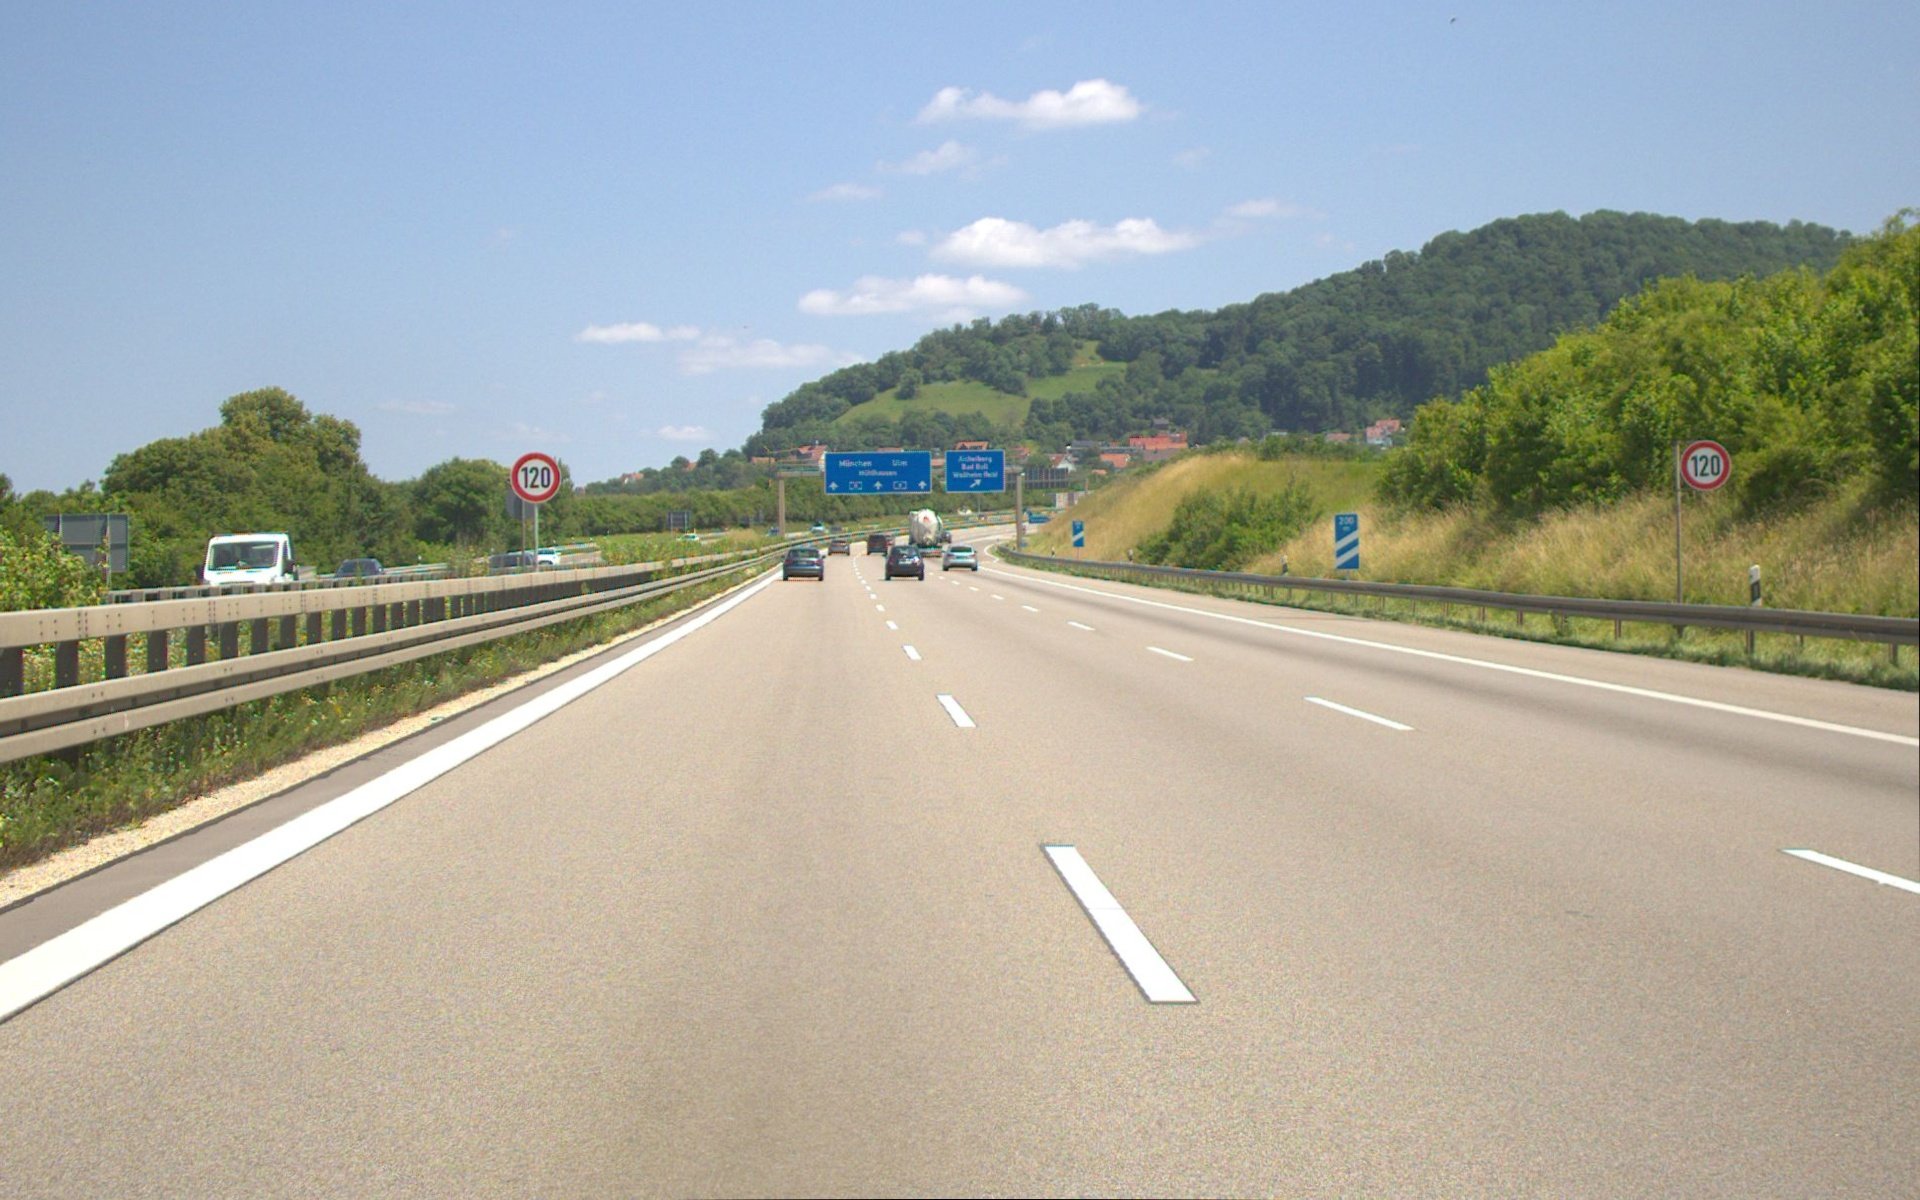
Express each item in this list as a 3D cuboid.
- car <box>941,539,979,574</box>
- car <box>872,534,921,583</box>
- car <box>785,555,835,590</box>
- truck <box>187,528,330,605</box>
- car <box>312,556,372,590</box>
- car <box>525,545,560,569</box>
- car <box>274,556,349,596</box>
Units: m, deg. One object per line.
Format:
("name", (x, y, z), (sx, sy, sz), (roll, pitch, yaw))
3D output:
("car", (-0.014, -2.397, 188.440), (1.993, 1.812, 4.000), (-1, 1, -1))
("car", (-2.701, -1.737, 145.902), (1.993, 2.007, 4.000), (1, 0, -1))
("car", (-6.201, -1.124, 142.630), (1.993, 1.384, 4.000), (1, 0, -1))
("truck", (-17.378, -0.817, 85.470), (2.428, 1.831, 5.727), (1, 0, -1))
("car", (-23.990, -1.038, 133.545), (1.715, 1.259, 3.733), (1, 0, -1))
("car", (-27.791, -2.853, 228.960), (1.886, 1.535, 4.000), (1, 0, -1))
("car", (-20.794, -0.763, 110.328), (1.741, 1.259, 3.678), (1, 0, -1))
